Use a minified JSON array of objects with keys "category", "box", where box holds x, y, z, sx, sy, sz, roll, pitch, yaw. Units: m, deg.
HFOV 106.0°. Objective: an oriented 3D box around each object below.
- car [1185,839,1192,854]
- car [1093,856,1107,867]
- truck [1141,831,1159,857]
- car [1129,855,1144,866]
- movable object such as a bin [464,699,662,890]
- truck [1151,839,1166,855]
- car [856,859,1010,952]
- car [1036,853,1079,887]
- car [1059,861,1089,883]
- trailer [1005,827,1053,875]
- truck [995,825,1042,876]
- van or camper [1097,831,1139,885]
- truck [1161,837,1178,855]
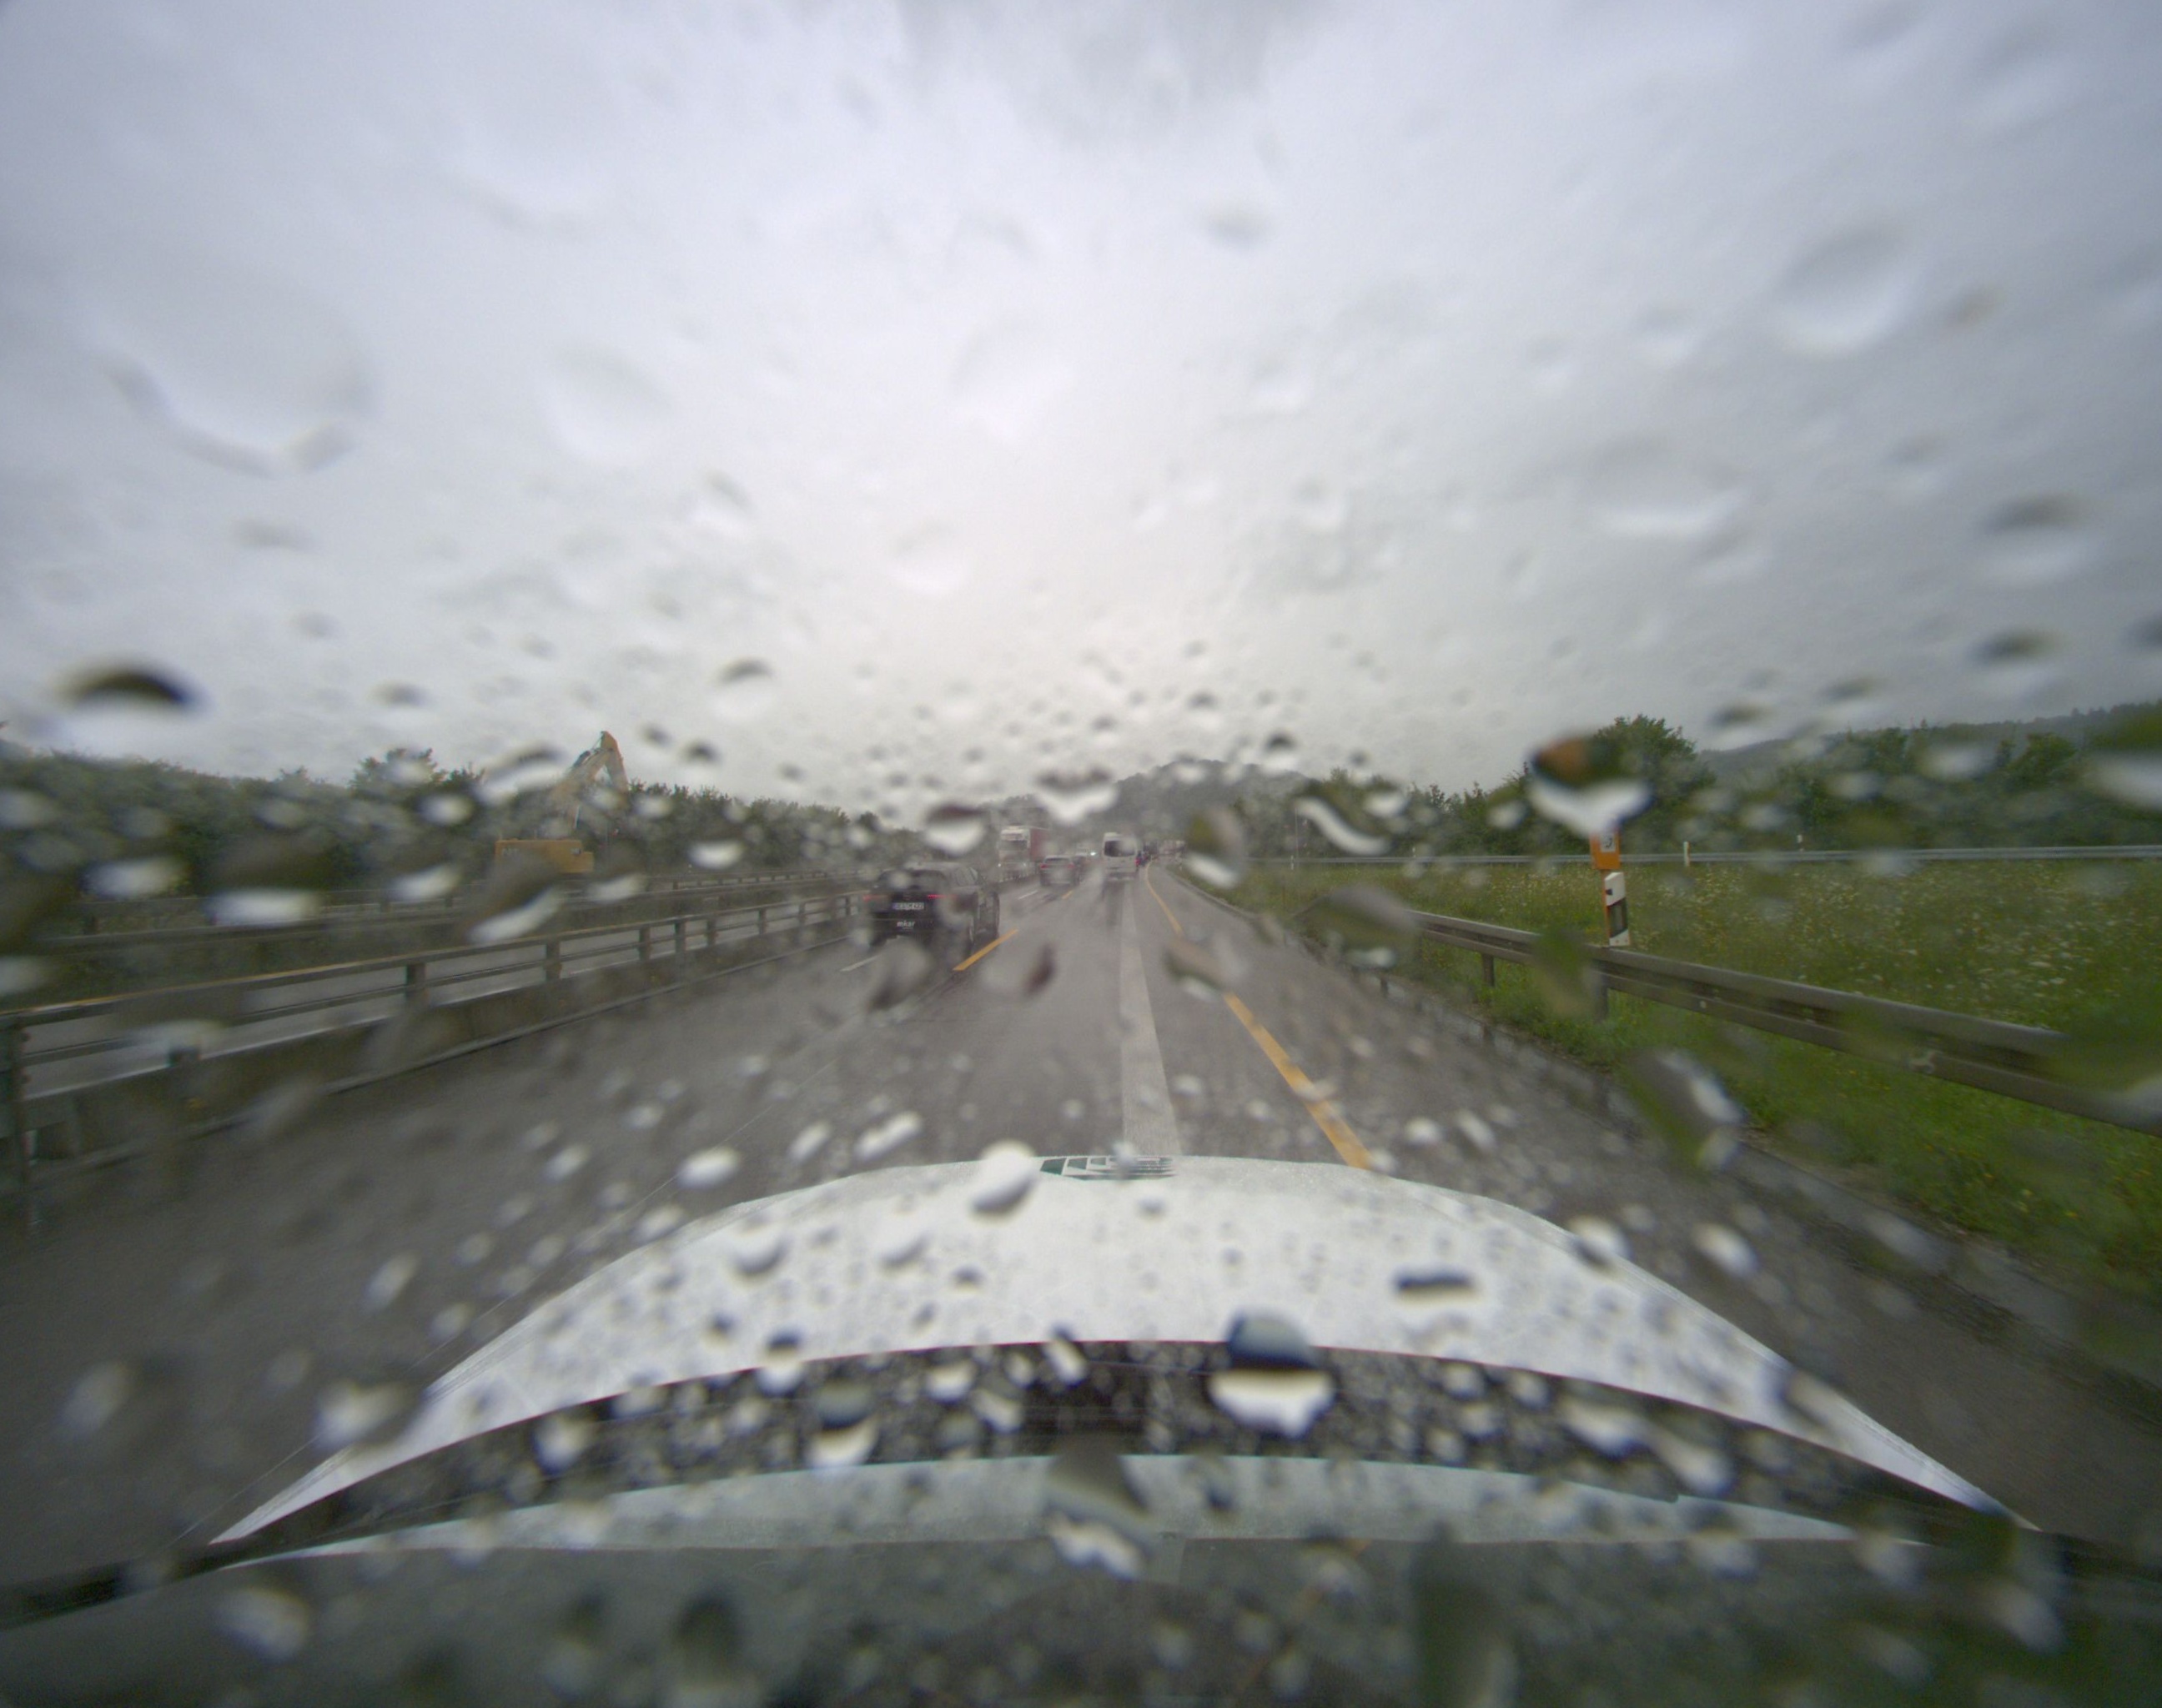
[{"category":"car","box":[31.415,-2.083,238.053,2.047,4.192,6.759,-1,0,7]},{"category":"car","box":[1.909,0.748,81.936,1.257,1.078,3.257,-1,0,3]},{"category":"truck","box":[13.284,-1.780,156.692,3.305,4.785,9.919,0,-1,5]},{"category":"car","box":[5.893,0.701,86.740,1.381,1.078,3.120,-1,0,-2]},{"category":"movable object such as a bin","box":[-24.254,-2.508,38.920,3.579,8.143,8.319,0,-1,5]},{"category":"truck","box":[18.448,-1.611,194.160,3.305,3.762,9.919,0,0,5]},{"category":"car","box":[-2.526,0.823,15.142,1.932,1.427,4.760,0,0,0]},{"category":"car","box":[-1.160,0.791,41.924,1.859,1.659,3.991,-1,0,3]},{"category":"car","box":[-0.482,1.256,59.491,1.844,1.500,4.004,-1,0,4]},{"category":"trailer","box":[-4.955,-0.268,79.964,2.962,4.295,11.072,-2,0,4]},{"category":"truck","box":[-5.522,-0.298,72.839,2.994,4.272,6.808,-2,0,4]},{"category":"van or camper","box":[2.021,0.206,43.733,2.130,2.721,4.652,-1,0,3]},{"category":"truck","box":[24.586,-2.112,225.702,3.905,4.785,9.932,0,-1,9]}]
